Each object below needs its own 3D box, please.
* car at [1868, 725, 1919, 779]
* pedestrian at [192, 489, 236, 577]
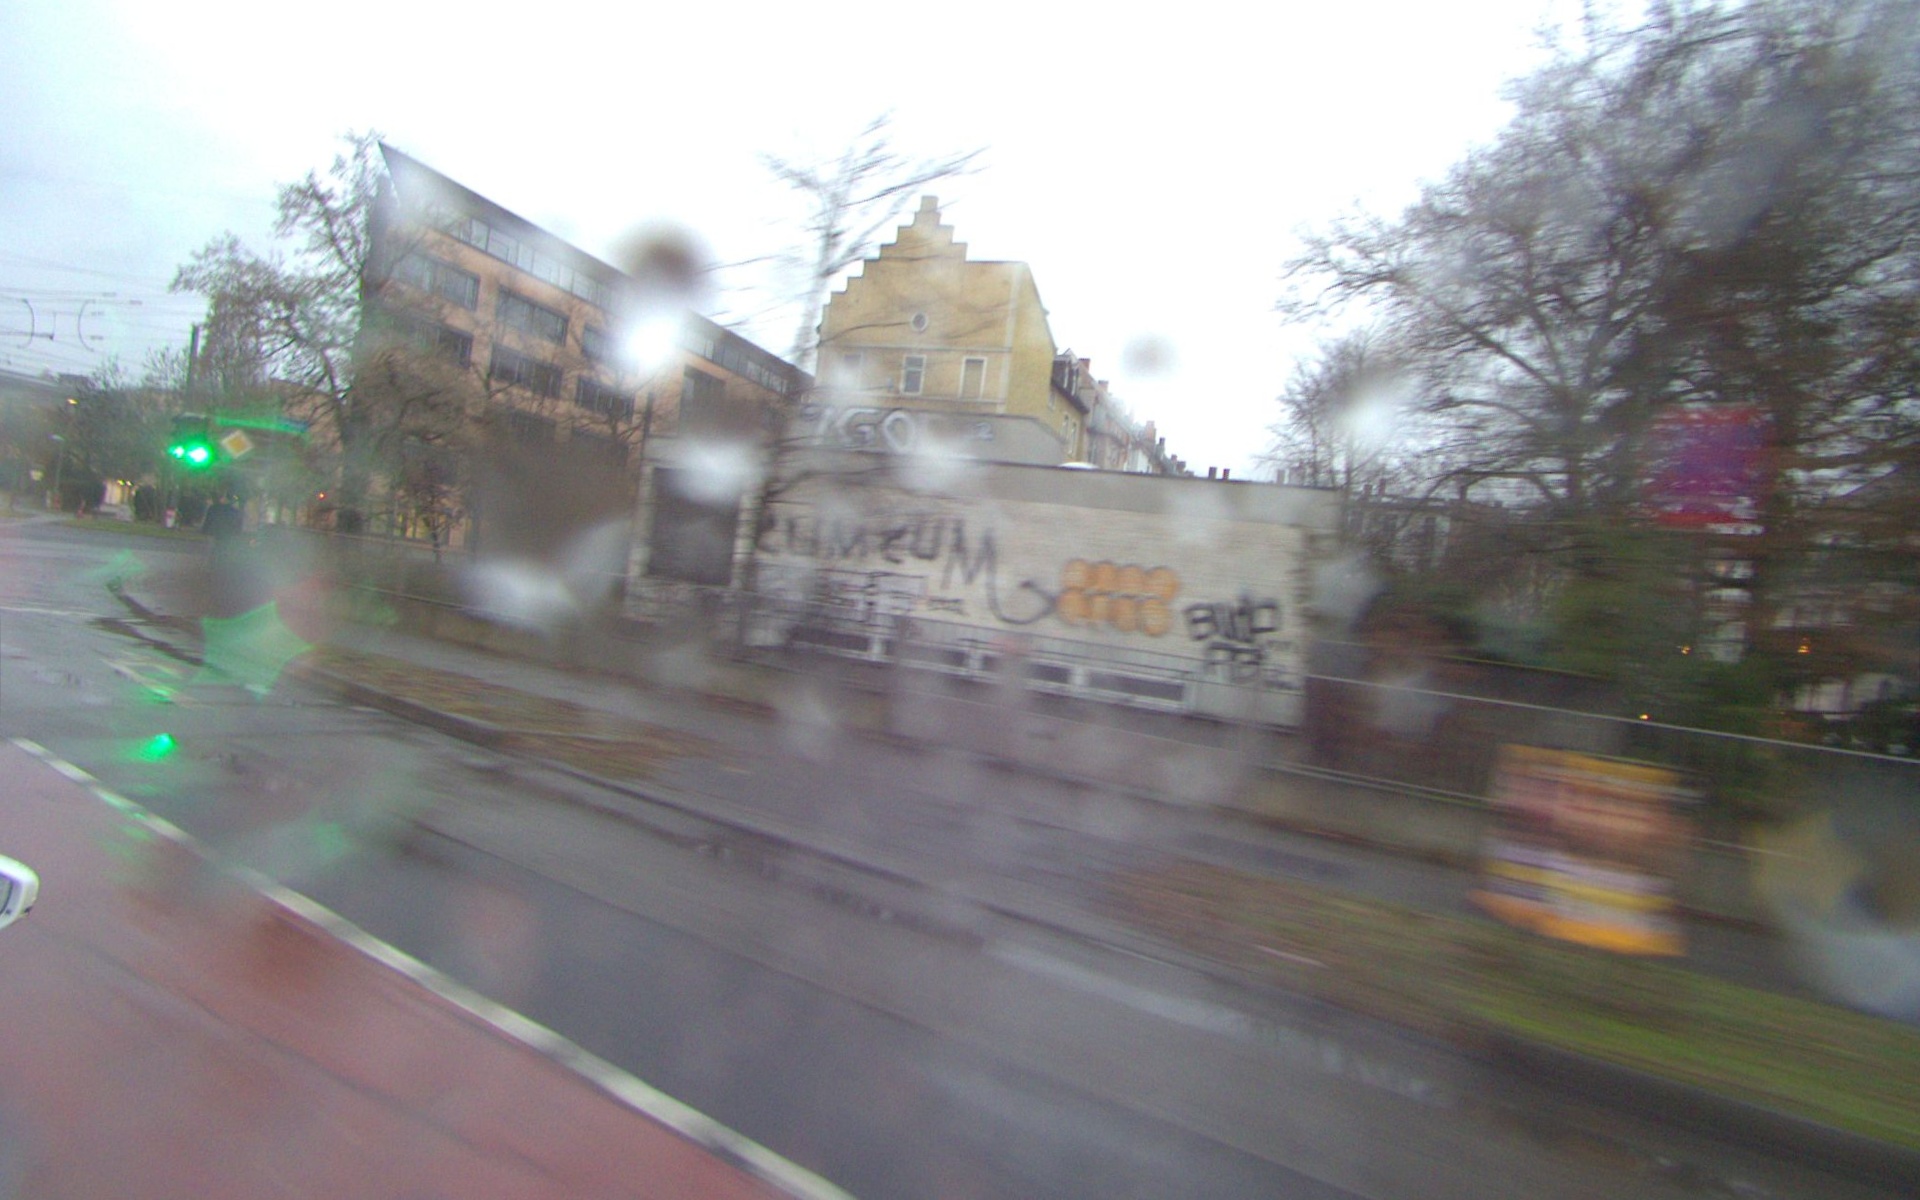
[{"bbox_3d":[37.826,6.052,39.690,1.831,1.941,4.096,7,-2,28],"label":"car"},{"bbox_3d":[-16.781,-1.515,22.631,0.570,1.862,0.675,7,3,-42],"label":"pedestrian"}]
